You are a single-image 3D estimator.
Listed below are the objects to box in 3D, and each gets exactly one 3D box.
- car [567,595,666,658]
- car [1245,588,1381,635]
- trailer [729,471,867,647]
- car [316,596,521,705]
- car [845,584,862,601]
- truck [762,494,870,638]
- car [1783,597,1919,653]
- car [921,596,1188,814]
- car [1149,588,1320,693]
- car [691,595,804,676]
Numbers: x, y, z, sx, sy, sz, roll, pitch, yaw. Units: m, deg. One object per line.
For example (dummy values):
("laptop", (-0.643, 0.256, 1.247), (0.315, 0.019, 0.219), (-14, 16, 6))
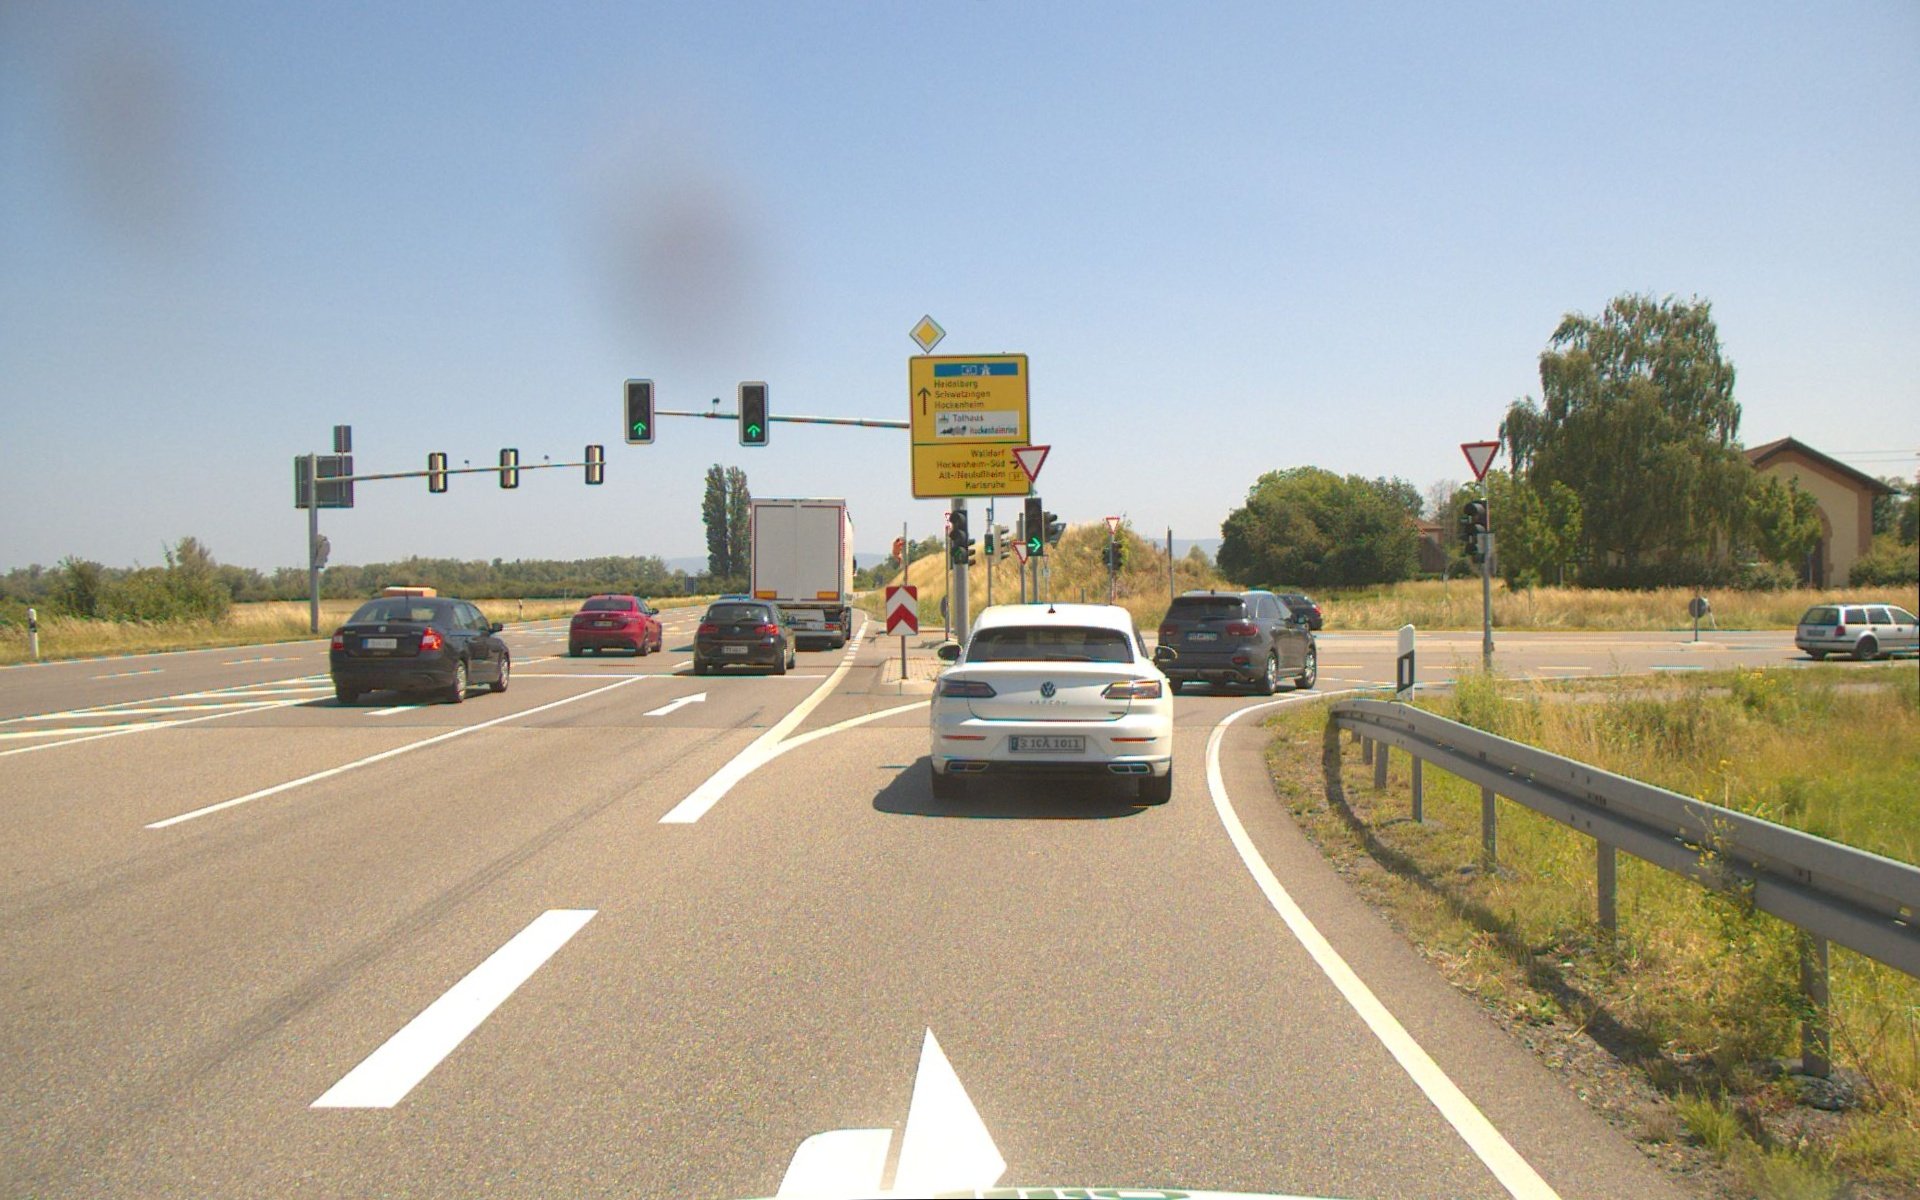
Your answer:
("car", (-8.515, 0.616, 41.369), (1.714, 1.446, 4.563), (1, 0, -3))
("car", (11.756, 0.373, 55.244), (4.172, 1.392, 1.776), (-1, 1, 1))
("trailer", (-4.638, -1.088, 50.072), (3.313, 4.622, 12.866), (1, 0, -2))
("car", (-7.703, 0.679, 23.942), (1.641, 1.436, 4.465), (0, 0, -2))
("car", (-12.167, -0.828, 188.834), (1.941, 1.902, 4.462), (0, 0, -5))
("truck", (-4.863, -1.107, 56.938), (3.313, 4.622, 6.370), (1, 0, -2))
("car", (24.278, 0.656, 44.228), (4.018, 1.454, 1.795), (0, 0, -20))
("car", (0.849, 0.714, 13.498), (1.809, 1.458, 4.611), (0, 0, 5))
("car", (4.777, 0.642, 28.312), (1.896, 1.645, 4.376), (0, 0, 23))
("car", (-4.154, 0.651, 32.894), (1.748, 1.456, 4.379), (1, 0, -1))
